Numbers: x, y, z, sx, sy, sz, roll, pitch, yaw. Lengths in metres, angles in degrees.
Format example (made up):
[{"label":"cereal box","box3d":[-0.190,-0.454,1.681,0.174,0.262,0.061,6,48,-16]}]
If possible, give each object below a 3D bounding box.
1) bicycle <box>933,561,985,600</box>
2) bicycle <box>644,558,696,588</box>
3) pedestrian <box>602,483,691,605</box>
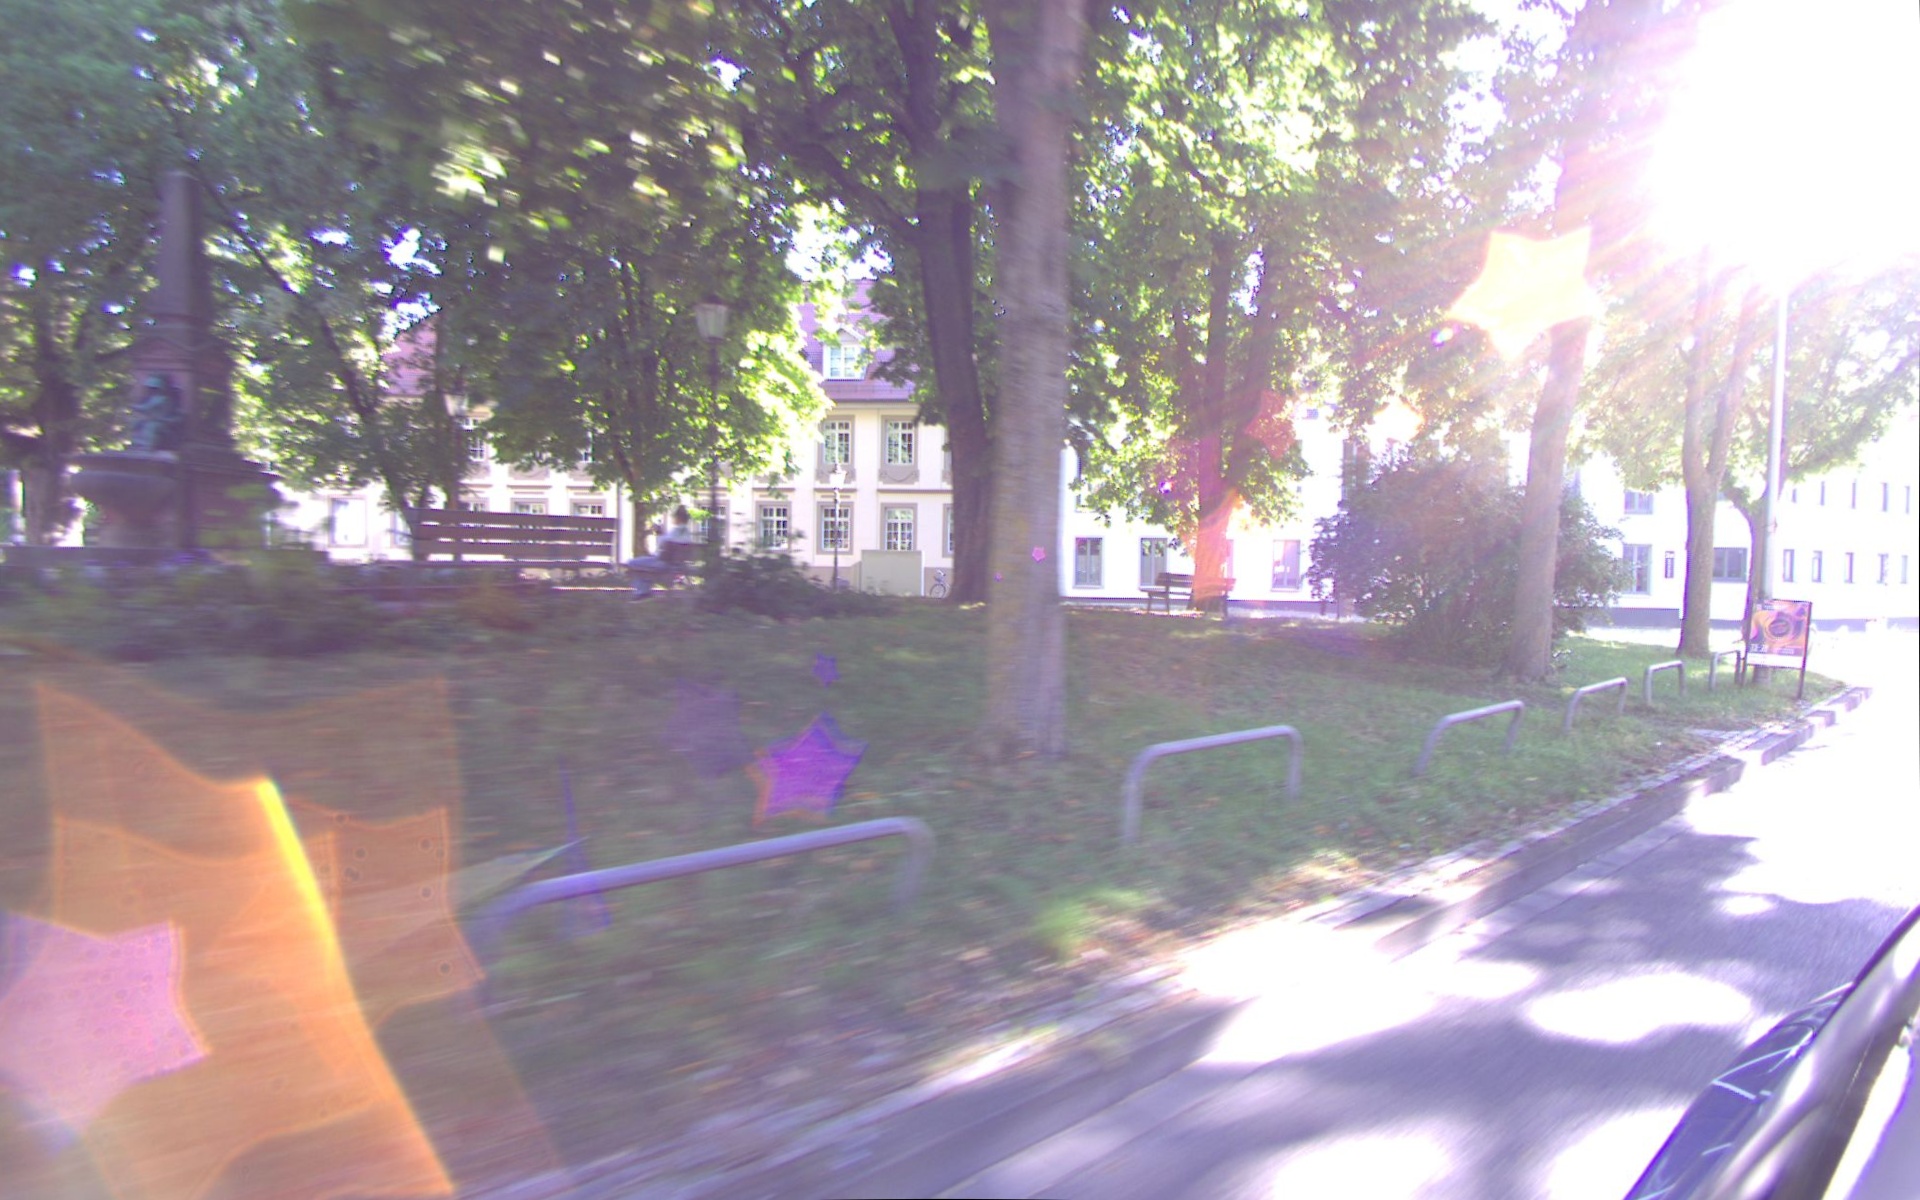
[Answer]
[{"label":"bicycle","box3d":[-0.034,-0.719,36.490,1.740,1.333,0.719,3,2,17]},{"label":"bicycle","box3d":[-11.067,-1.032,38.628,1.734,1.045,0.721,2,2,8]},{"label":"pedestrian","box3d":[-3.594,-0.646,11.621,0.687,1.333,0.678,3,2,20]}]
